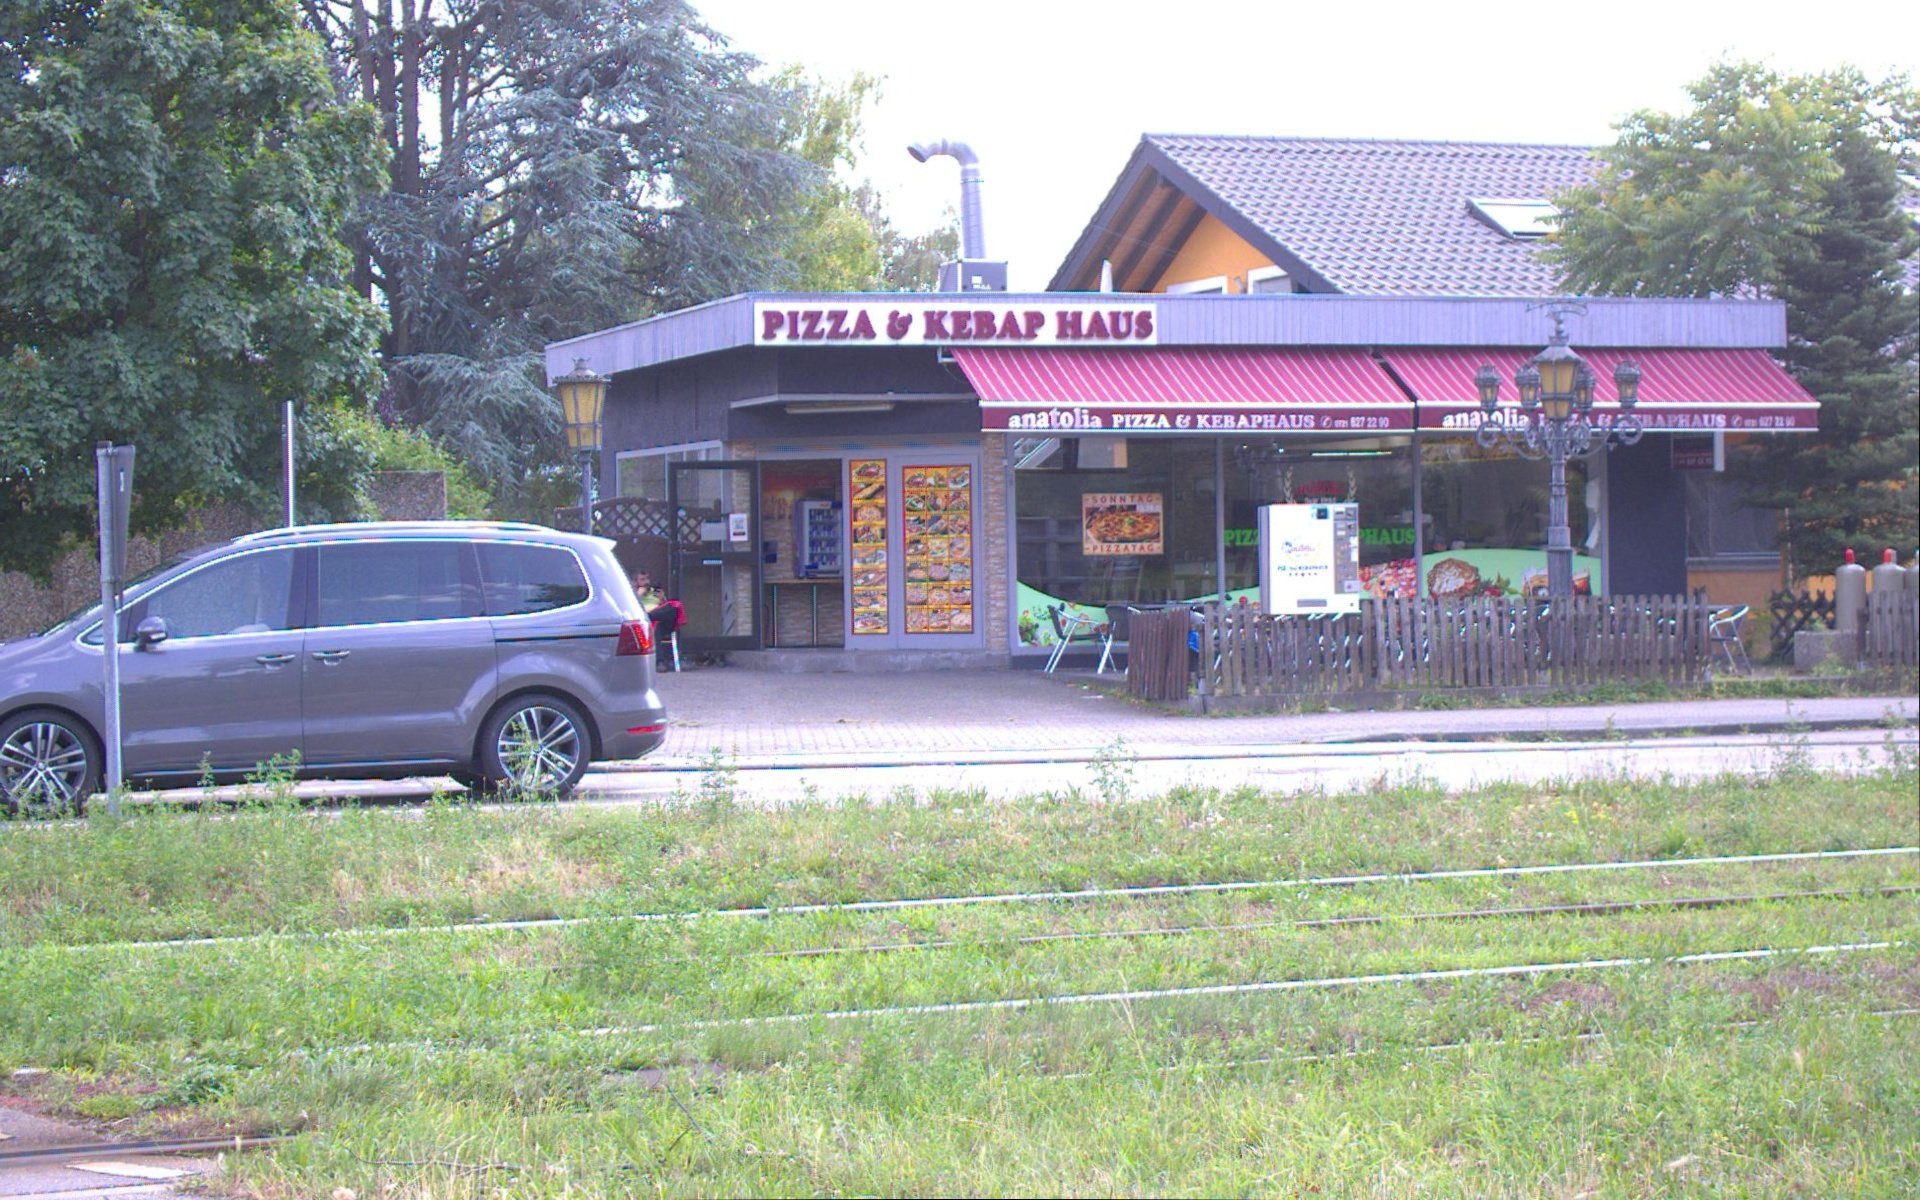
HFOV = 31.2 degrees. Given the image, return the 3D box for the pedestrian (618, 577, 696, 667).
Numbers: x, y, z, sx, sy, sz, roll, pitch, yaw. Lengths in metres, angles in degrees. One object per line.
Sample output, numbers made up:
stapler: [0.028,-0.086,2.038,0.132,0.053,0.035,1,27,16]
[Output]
pedestrian: [-3.269,0.234,37.066,0.724,0.926,0.777,0,2,-14]

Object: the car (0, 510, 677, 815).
car: [-4.289,0.338,21.167,4.723,1.716,2.001,-1,1,-18]
